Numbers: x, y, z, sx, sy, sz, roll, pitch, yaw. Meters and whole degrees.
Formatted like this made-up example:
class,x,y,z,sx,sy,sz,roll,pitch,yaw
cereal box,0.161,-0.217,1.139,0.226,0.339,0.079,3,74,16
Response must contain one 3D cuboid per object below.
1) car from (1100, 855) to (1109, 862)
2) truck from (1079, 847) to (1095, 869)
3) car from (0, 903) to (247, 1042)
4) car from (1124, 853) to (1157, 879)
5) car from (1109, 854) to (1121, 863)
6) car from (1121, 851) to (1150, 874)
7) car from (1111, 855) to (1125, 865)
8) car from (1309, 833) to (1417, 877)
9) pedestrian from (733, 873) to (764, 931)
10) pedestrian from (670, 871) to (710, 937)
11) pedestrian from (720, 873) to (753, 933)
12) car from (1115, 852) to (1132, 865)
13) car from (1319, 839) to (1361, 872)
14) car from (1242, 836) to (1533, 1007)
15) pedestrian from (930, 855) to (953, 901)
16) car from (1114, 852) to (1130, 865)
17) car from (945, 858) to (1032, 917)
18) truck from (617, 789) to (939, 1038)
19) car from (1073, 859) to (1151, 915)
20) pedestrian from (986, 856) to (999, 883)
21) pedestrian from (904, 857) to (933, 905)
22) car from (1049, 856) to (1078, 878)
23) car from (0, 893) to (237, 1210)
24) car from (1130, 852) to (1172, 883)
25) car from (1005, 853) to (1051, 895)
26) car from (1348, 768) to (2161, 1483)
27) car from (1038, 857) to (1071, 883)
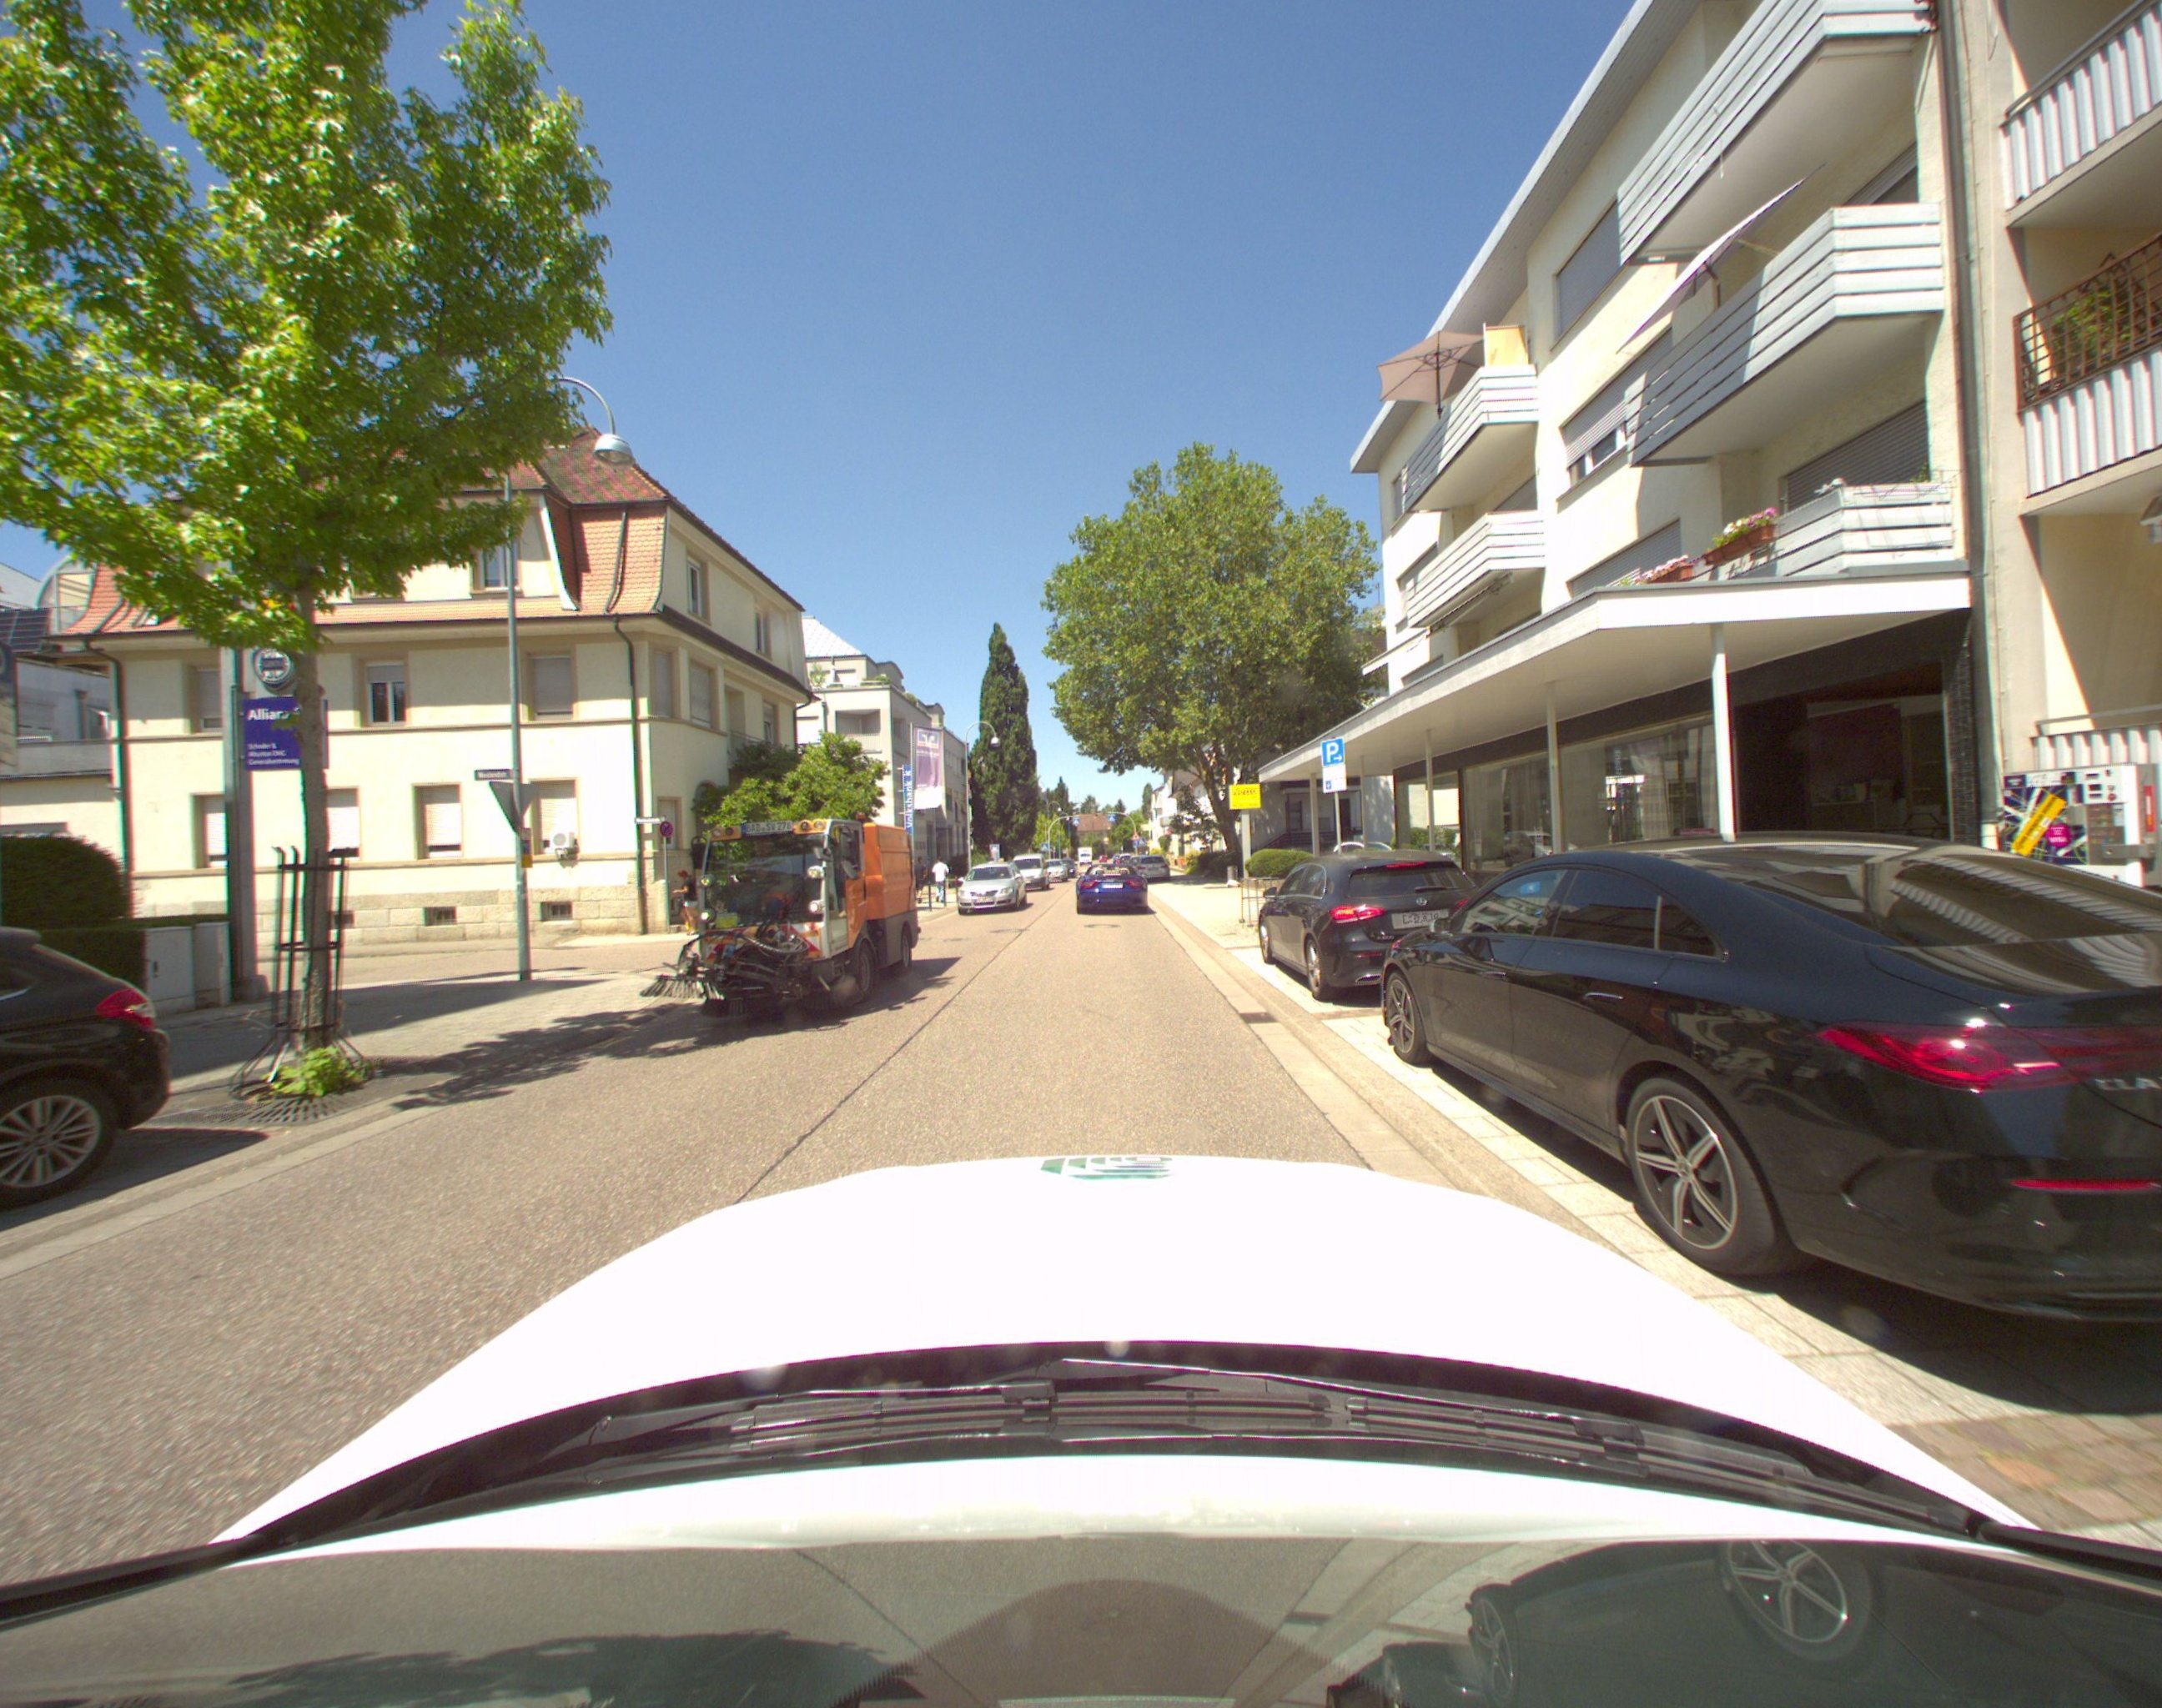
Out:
class,x,y,z,sx,sy,sz,roll,pitch,yaw
car,4.821,0.927,170.372,1.763,1.476,4.138,-2,-1,1
truck,0.970,0.615,136.017,2.413,3.482,7.001,-4,0,0
car,-13.861,1.543,10.488,1.986,1.500,4.001,-3,-1,1
car,4.106,0.821,56.874,1.969,1.556,4.351,-4,1,2
car,6.173,0.762,146.633,1.944,1.476,4.138,-4,0,1
car,4.156,0.636,63.050,1.969,1.556,4.351,-4,1,2
car,5.882,0.979,129.838,1.944,1.476,4.138,-4,0,1
car,11.534,0.077,33.590,1.854,1.453,3.965,-5,-1,-26
pedestrian,-8.477,1.216,20.788,0.598,1.371,0.690,-5,2,-20
pedestrian,-9.643,1.221,20.077,0.601,1.529,0.686,-6,3,-43
pedestrian,-8.467,1.190,20.038,0.598,1.371,0.690,-5,2,-19
car,5.250,0.521,101.578,1.944,1.476,4.138,-4,0,1
car,13.192,0.048,41.515,1.829,1.453,4.019,-5,-1,18
car,3.169,0.629,9.423,1.838,1.414,4.164,-4,-1,2
pedestrian,-5.214,0.893,30.483,0.629,1.691,0.961,-1,-2,1
car,5.456,0.590,108.477,1.944,1.476,4.138,-4,0,1
car,-2.755,0.961,25.418,1.942,1.508,4.798,-4,0,1
truck,-3.136,0.516,9.680,1.798,2.117,4.717,-4,0,2
car,0.829,0.851,22.821,1.969,1.398,4.627,0,-1,1
pedestrian,-5.290,0.925,48.586,0.585,1.574,0.781,-2,0,1
pedestrian,-6.059,0.995,30.381,0.882,1.749,0.818,-1,-2,1
car,-1.265,0.956,60.935,1.944,1.476,4.138,-4,0,1
car,-6.151,0.986,2.829,1.746,1.474,4.326,-1,0,4
car,3.779,0.699,44.628,1.969,1.450,4.351,-4,1,2
car,-2.494,0.903,39.202,1.764,1.767,4.137,-4,1,0
car,2.999,0.563,4.055,1.887,1.530,4.570,-4,-1,2
car,-1.622,0.979,51.327,1.763,1.476,4.138,-4,0,1
